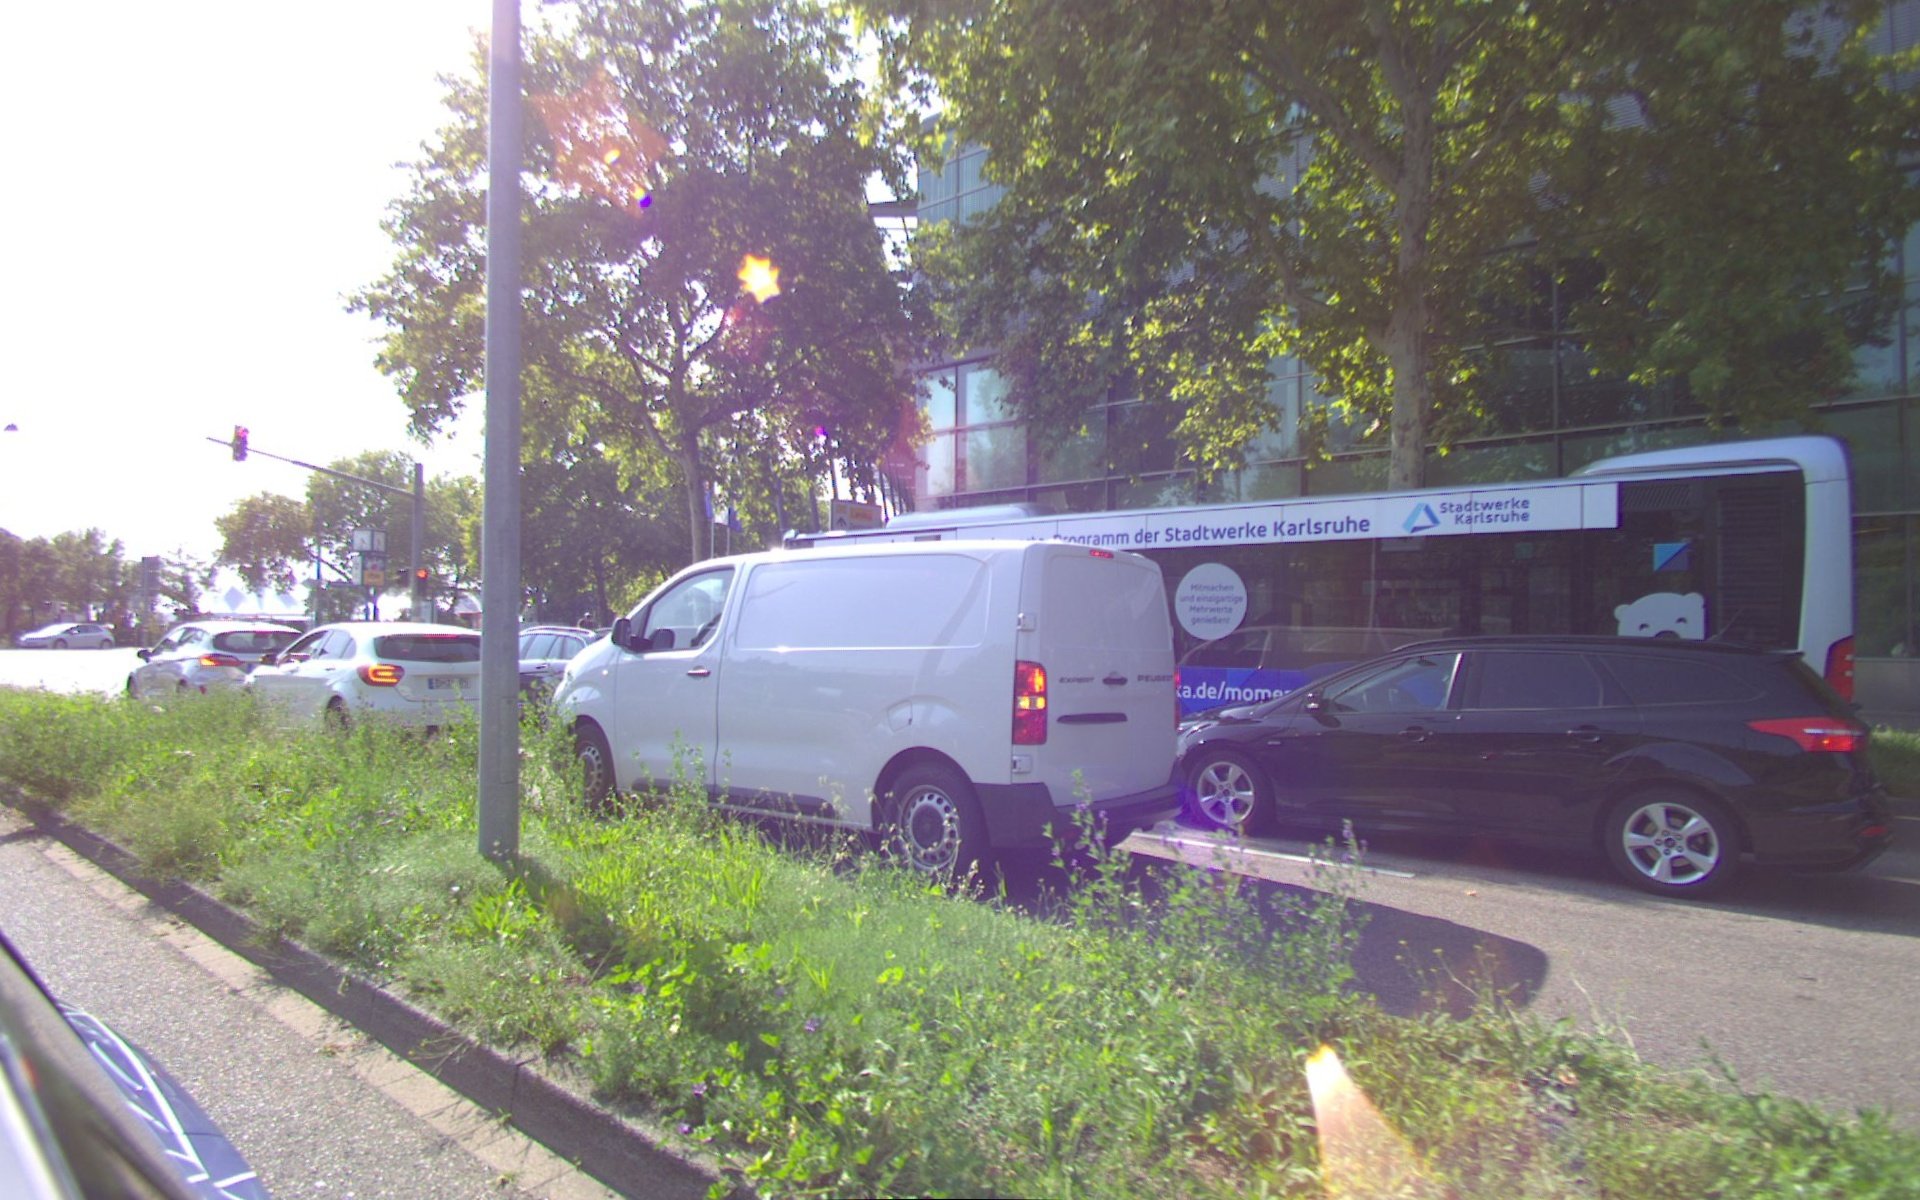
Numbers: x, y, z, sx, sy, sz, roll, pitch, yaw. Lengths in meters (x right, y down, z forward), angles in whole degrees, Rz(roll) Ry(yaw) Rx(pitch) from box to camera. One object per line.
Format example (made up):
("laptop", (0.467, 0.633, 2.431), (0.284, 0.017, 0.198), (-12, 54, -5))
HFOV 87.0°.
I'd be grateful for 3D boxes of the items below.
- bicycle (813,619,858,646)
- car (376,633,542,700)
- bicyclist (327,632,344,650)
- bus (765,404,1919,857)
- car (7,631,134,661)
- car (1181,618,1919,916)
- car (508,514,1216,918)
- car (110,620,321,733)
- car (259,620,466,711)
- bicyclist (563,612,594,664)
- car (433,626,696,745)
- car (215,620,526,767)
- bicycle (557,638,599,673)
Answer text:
("bicycle", (-5.203, 1.347, 42.299), (1.838, 1.102, 0.528), (0, -1, -8))
("car", (-11.390, 1.434, 22.910), (4.153, 1.363, 1.693), (-1, -2, 37))
("bicyclist", (-41.026, 2.687, 66.484), (0.901, 1.149, 0.518), (0, -2, 17))
("bus", (2.776, 0.285, 11.652), (12.297, 3.103, 2.565), (-1, -1, 39))
("car", (-47.191, 2.422, 53.863), (1.835, 1.457, 5.427), (0, -1, 2))
("car", (3.760, 0.880, 6.765), (4.184, 1.444, 1.631), (-1, -4, 39))
("car", (-0.925, 0.609, 6.983), (4.883, 1.878, 1.893), (-1, -4, 38))
("car", (-11.337, 1.063, 15.323), (3.996, 1.507, 1.627), (-1, -2, 39))
("car", (-11.217, 1.165, 18.913), (4.257, 1.515, 1.837), (-1, -3, 37))
("bicyclist", (-12.747, 1.266, 33.806), (0.809, 1.701, 0.625), (-2, -3, 42))
("car", (-5.742, 1.147, 14.511), (3.995, 1.453, 1.690), (-1, -4, 38))
("car", (-6.876, 0.993, 11.659), (4.078, 1.413, 1.692), (-2, -4, 38))
("bicycle", (-12.756, 1.834, 33.787), (1.650, 1.103, 0.635), (-1, -2, 43))
